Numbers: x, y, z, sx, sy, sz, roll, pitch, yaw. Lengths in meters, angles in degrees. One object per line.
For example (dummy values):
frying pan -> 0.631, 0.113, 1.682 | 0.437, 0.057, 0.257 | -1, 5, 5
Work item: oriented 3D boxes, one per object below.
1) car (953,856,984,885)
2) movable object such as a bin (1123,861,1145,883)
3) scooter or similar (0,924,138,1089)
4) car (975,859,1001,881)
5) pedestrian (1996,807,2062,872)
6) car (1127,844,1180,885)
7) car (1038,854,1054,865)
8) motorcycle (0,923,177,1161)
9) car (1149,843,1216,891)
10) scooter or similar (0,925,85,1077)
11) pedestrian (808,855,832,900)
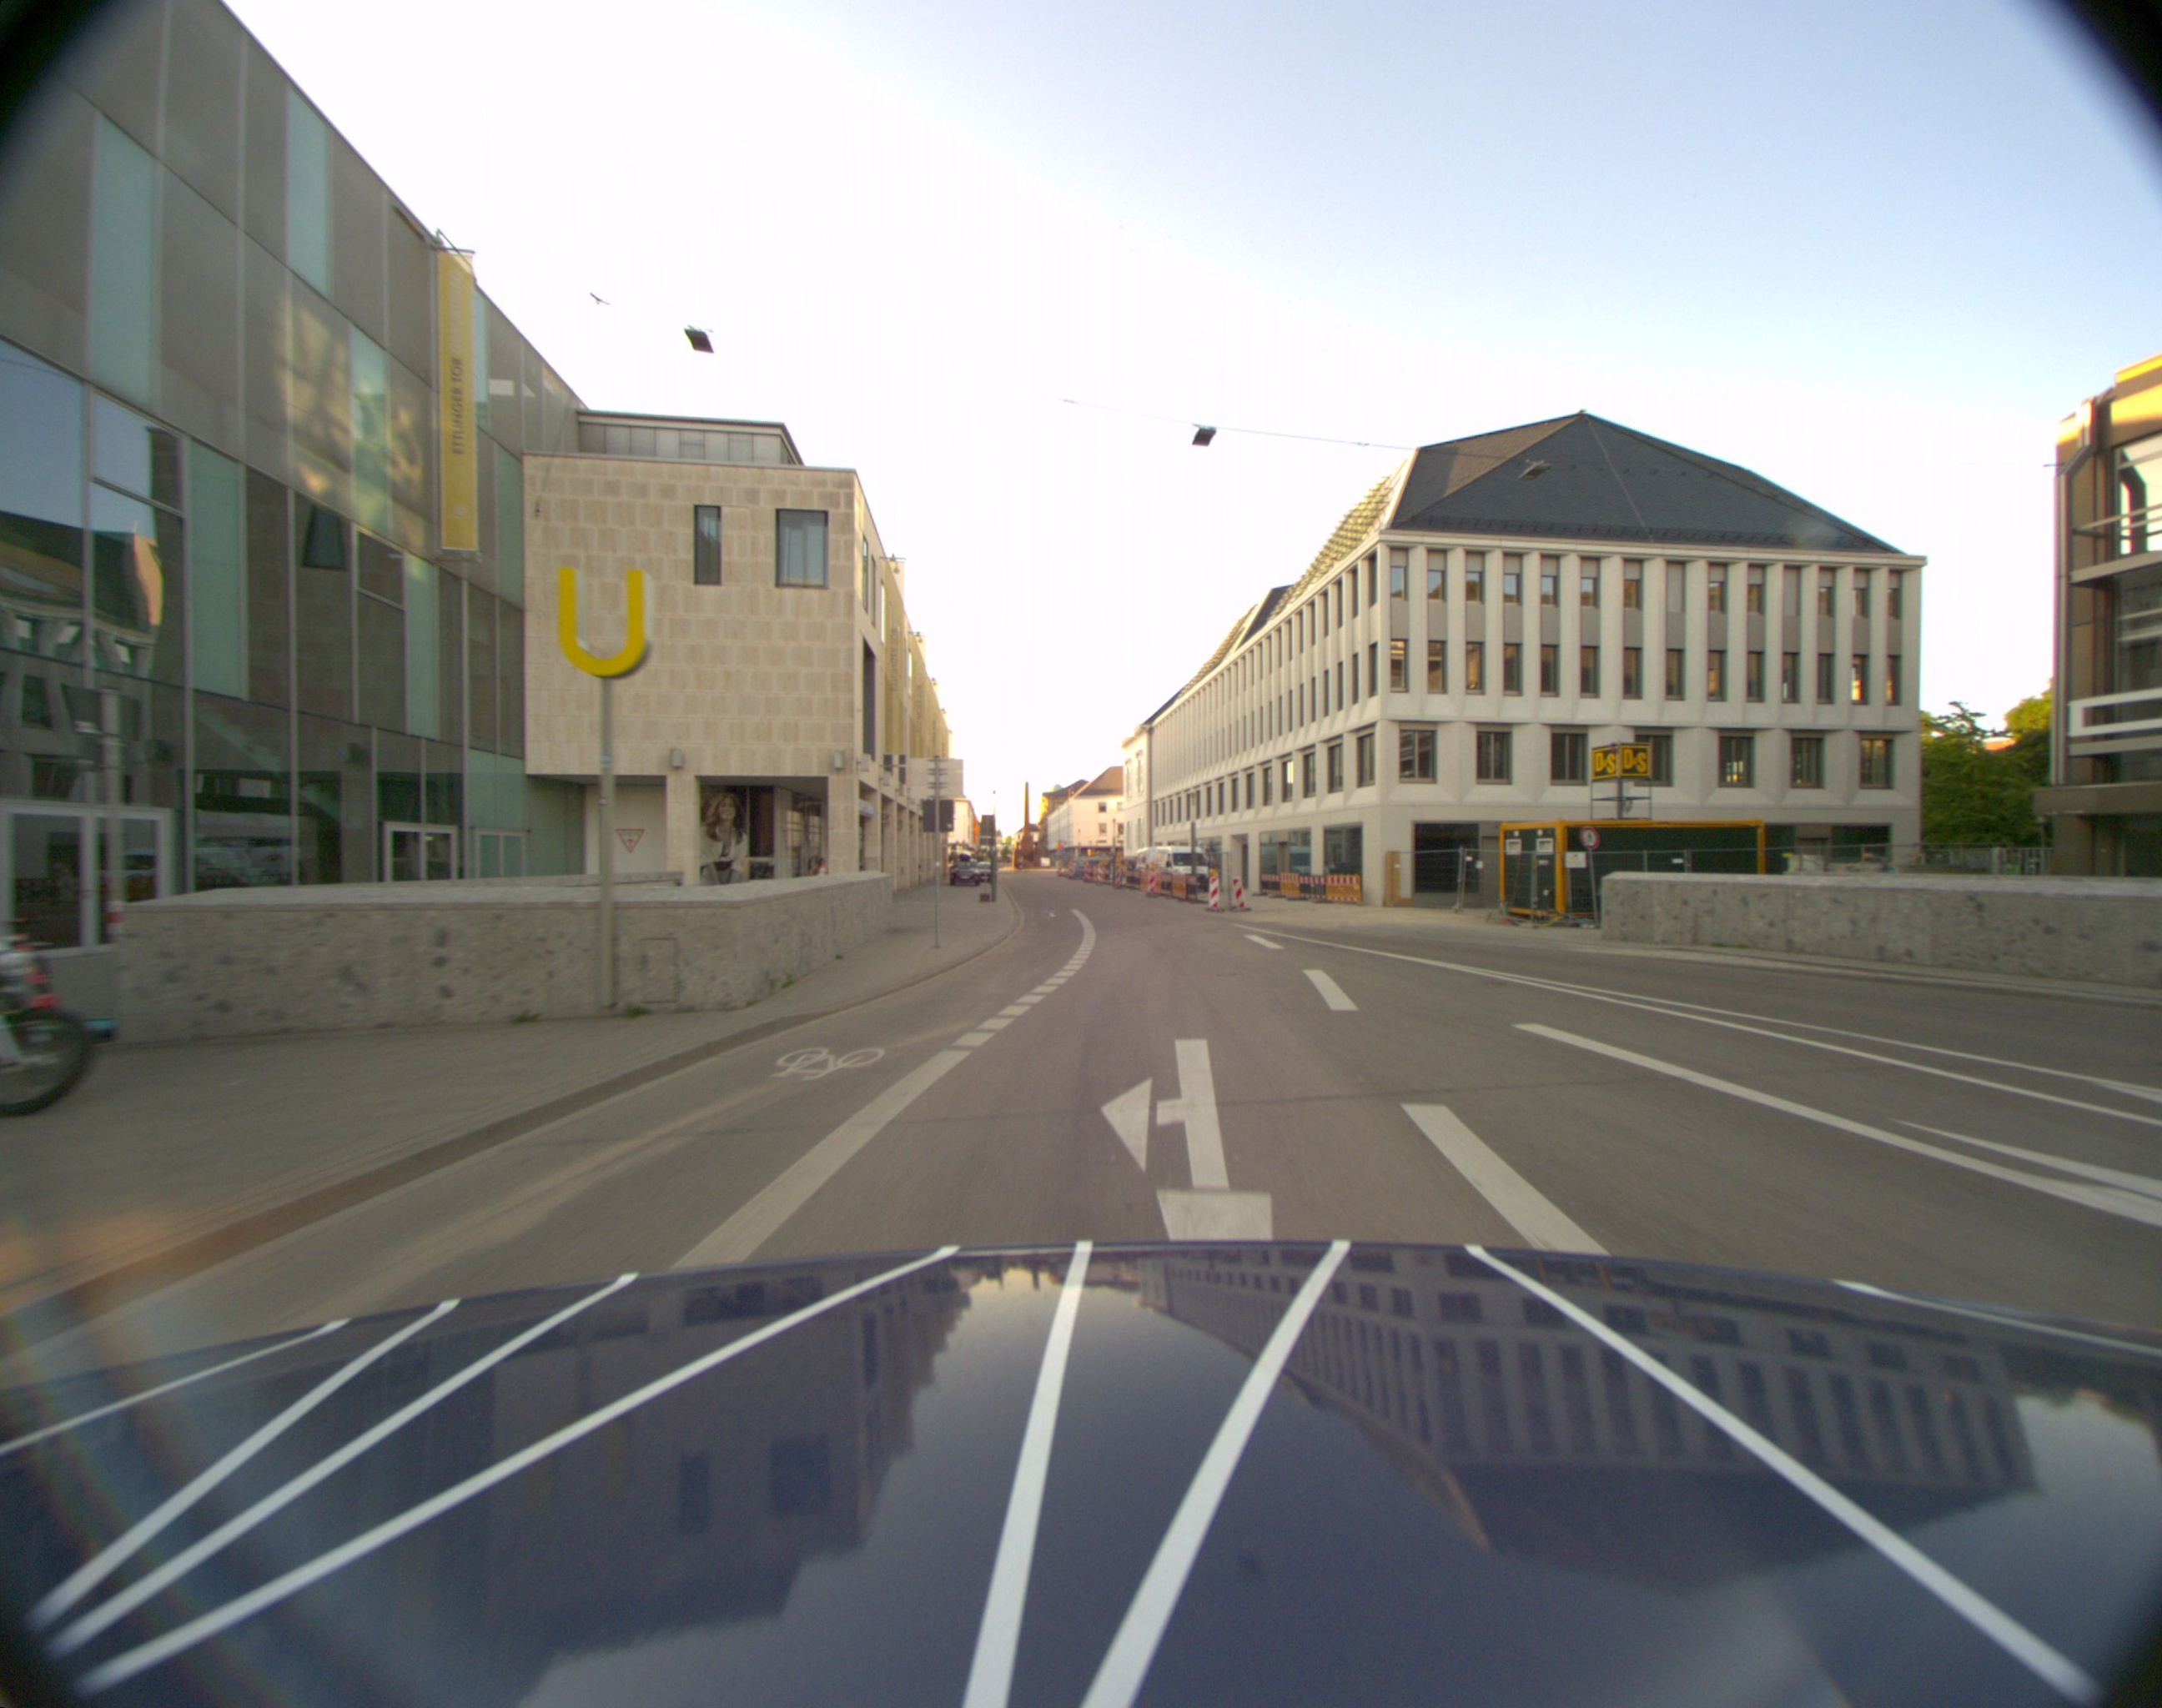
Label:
car -> -7.132, 1.018, 48.577 | 1.774, 1.628, 4.054 | 3, 0, -7
movable object such as a bin -> 3.690, 1.242, 53.051 | 1.047, 1.458, 1.391 | -1, 1, -19
scooter or similar -> -8.871, 1.266, 6.528 | 0.398, 1.250, 0.869 | -1, 0, 4
car -> -6.960, 1.165, 57.274 | 1.801, 1.481, 4.190 | 3, 0, -7
pedestrian -> 29.904, -0.454, 23.982 | 0.890, 2.002, 0.944 | 0, 0, -1
car -> 4.569, 0.638, 49.010 | 2.180, 2.456, 5.995 | 0, 0, -7
car -> -6.029, 0.889, 131.452 | 2.023, 1.815, 4.454 | 0, 0, -13
motorcycle -> -7.486, 1.152, 4.752 | 2.306, 1.325, 0.906 | 0, 0, -9
car -> 5.452, 0.649, 41.614 | 2.180, 2.456, 5.995 | 0, 0, -7
scooter or similar -> -9.481, 1.282, 6.487 | 1.119, 1.250, 0.398 | -1, 1, -45
pedestrian -> -9.183, 0.811, 26.760 | 0.635, 1.533, 0.774 | -1, 1, -8
